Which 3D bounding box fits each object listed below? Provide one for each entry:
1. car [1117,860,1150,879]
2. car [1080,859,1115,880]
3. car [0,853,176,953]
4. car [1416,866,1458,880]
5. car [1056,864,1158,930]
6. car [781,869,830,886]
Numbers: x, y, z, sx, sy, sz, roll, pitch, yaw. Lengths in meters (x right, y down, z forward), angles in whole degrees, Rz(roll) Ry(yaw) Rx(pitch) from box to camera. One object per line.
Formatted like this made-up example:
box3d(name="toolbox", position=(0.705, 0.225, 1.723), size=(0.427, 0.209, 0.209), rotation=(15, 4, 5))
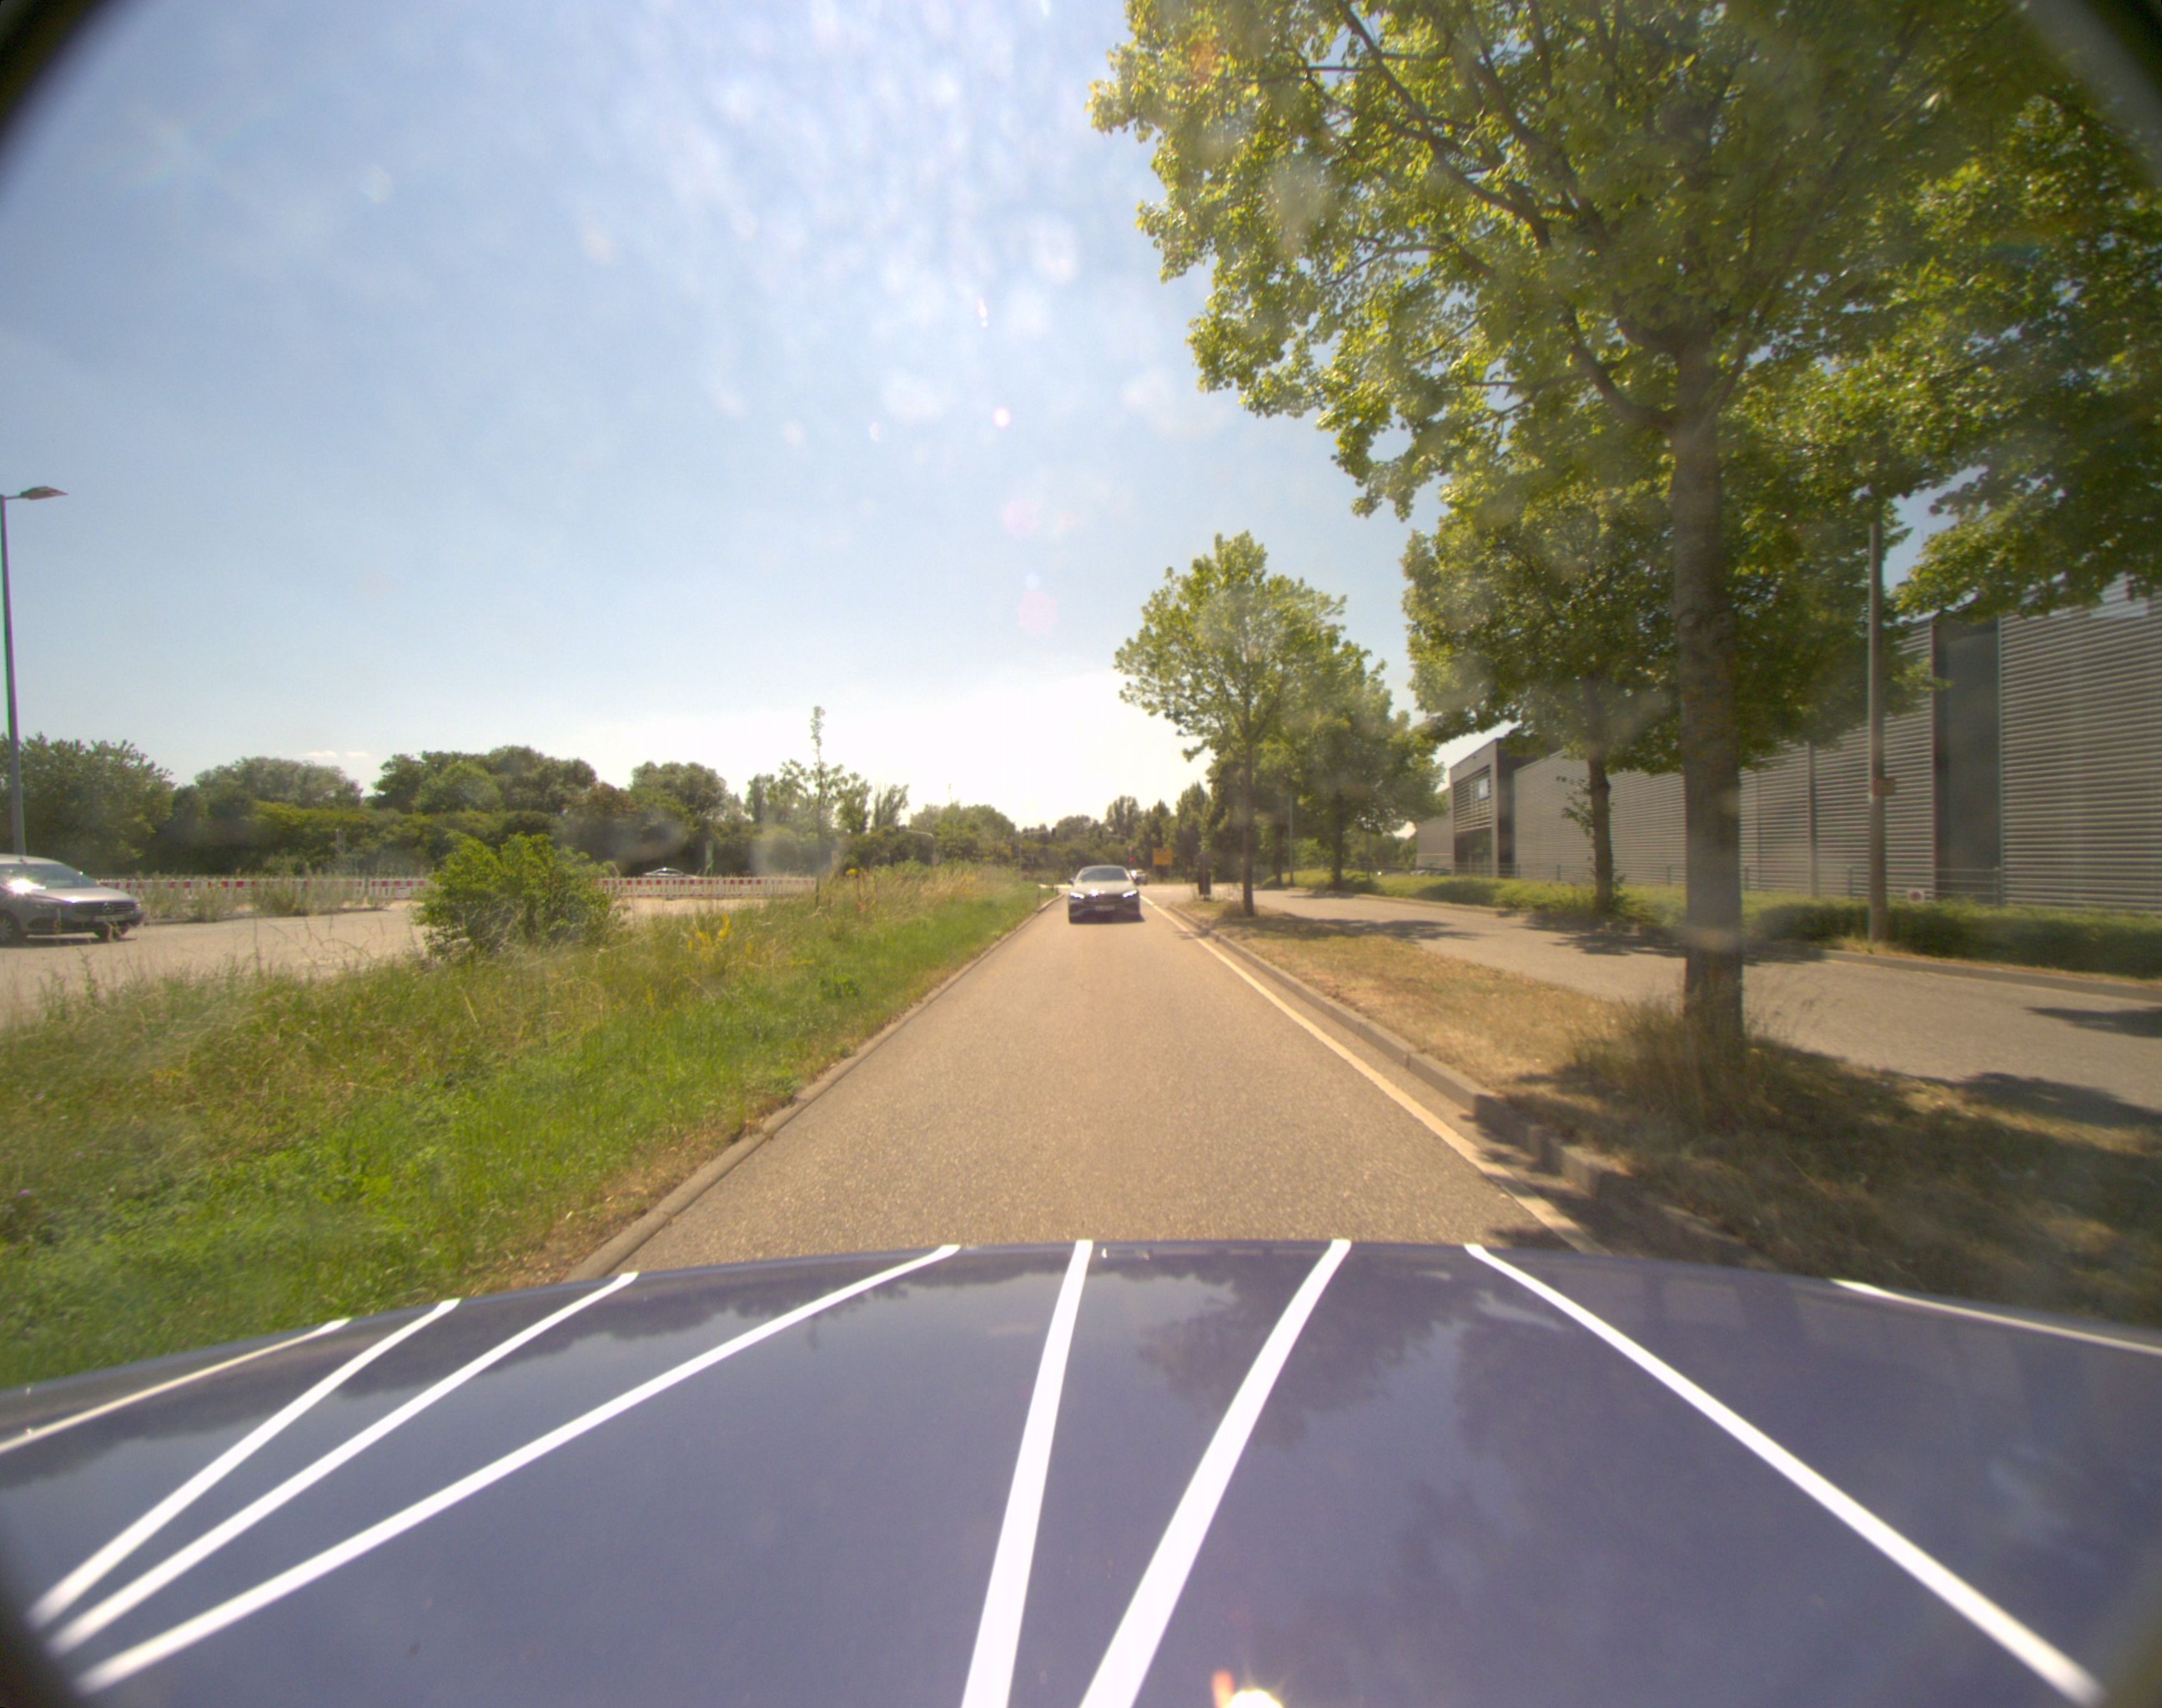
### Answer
box3d(name="car", position=(5.207, 1.503, 76.175), size=(2.001, 1.697, 3.859), rotation=(-4, 1, -16))
box3d(name="car", position=(1.545, 1.492, 75.355), size=(2.001, 1.932, 4.864), rotation=(-4, 1, -16))
box3d(name="car", position=(-21.897, 0.933, 15.511), size=(4.474, 1.903, 1.940), rotation=(1, -1, 0))
box3d(name="car", position=(39.814, 2.090, 85.056), size=(3.993, 1.476, 2.003), rotation=(0, -3, 13))
box3d(name="car", position=(0.825, 1.034, 20.034), size=(1.920, 1.433, 4.486), rotation=(-4, -1, 11))
box3d(name="car", position=(-26.444, 2.277, 72.949), size=(4.009, 1.629, 1.777), rotation=(3, -4, -42))
